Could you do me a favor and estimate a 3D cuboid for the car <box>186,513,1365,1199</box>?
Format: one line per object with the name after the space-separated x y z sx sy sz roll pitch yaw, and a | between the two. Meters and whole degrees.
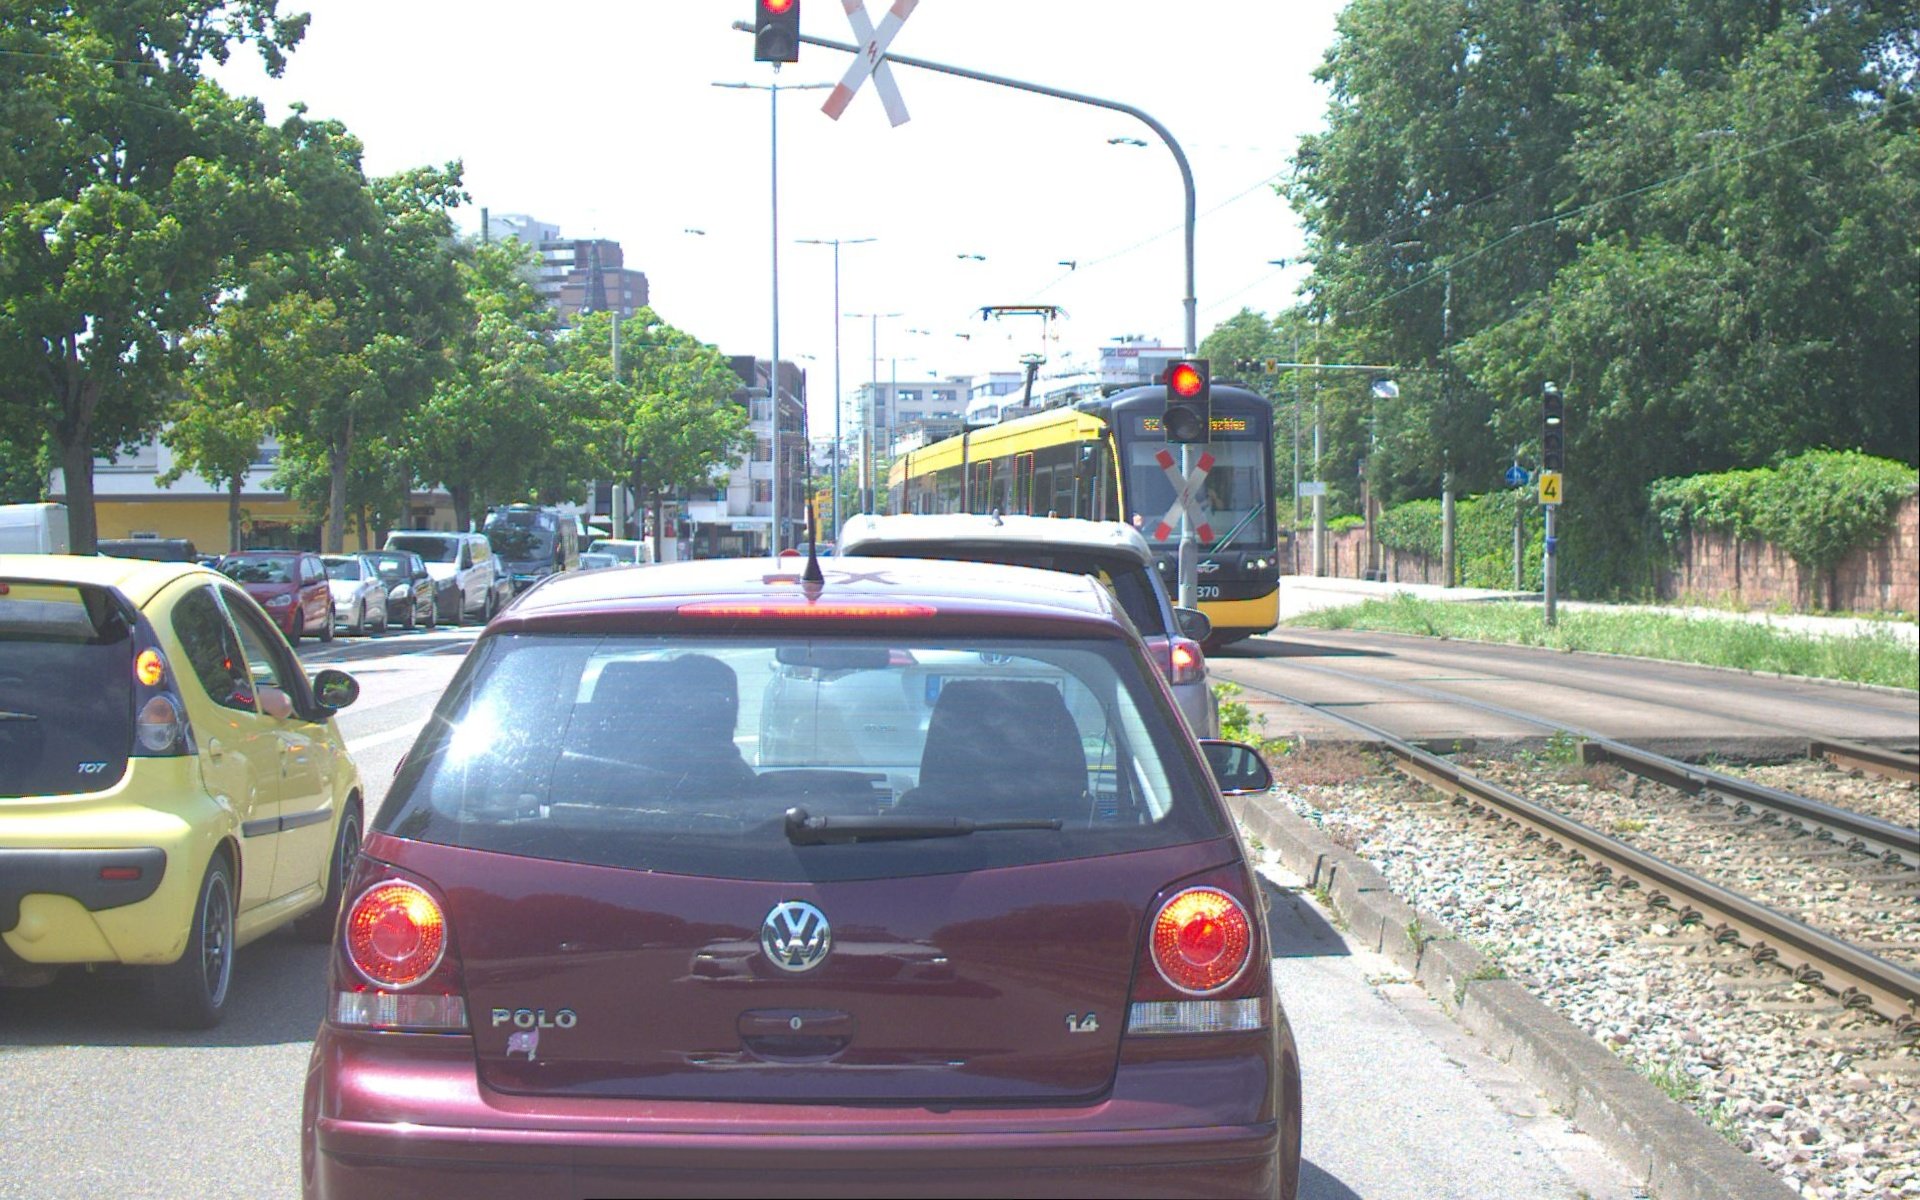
-0.315 0.611 6.952 1.672 1.516 4.000 1 1 -1 | car

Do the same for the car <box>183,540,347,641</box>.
-10.948 -0.155 54.402 1.663 1.491 4.000 2 0 1 | car

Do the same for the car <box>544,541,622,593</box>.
-11.085 -0.964 101.309 1.614 1.436 4.000 2 0 3 | car

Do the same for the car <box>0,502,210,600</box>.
-21.323 -1.206 84.733 5.097 2.237 2.378 2 0 1 | car

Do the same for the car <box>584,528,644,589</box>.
-10.823 -1.302 107.510 1.774 1.822 4.001 2 0 -6 | car

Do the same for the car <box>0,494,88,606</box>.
-20.888 -1.073 70.957 5.097 2.237 2.378 2 0 1 | car

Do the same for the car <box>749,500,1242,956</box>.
0.082 0.431 14.645 1.777 1.641 4.000 1 1 -1 | car

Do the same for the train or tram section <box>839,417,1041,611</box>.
-0.564 -1.762 70.667 2.740 3.597 10.953 2 1 -7 | train or tram section

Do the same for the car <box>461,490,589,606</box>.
-10.610 -1.240 84.225 2.361 2.683 5.307 2 0 0 | car

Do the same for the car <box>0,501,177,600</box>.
-21.606 -1.200 82.261 5.097 2.237 2.378 2 0 1 | car

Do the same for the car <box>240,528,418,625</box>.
-11.125 -0.403 60.949 1.976 1.595 4.557 2 0 4 | car

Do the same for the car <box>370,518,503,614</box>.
-10.798 -0.688 71.187 1.783 1.875 4.785 2 0 2 | car

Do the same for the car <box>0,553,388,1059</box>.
-3.059 0.573 11.705 1.690 1.406 3.516 1 1 -1 | car

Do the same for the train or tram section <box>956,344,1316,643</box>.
2.166 -1.468 48.722 2.740 3.597 12.873 2 1 -7 | train or tram section

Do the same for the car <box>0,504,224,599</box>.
-21.550 -1.227 87.331 5.097 2.237 2.378 2 0 1 | car

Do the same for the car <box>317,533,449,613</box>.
-10.993 -0.503 65.734 1.614 1.436 4.000 2 0 3 | car

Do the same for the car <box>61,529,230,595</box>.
-21.702 -1.009 91.738 4.020 1.611 1.816 2 0 1 | car

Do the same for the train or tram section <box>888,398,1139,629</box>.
0.746 -1.508 60.165 2.740 3.597 10.953 2 1 -7 | train or tram section
